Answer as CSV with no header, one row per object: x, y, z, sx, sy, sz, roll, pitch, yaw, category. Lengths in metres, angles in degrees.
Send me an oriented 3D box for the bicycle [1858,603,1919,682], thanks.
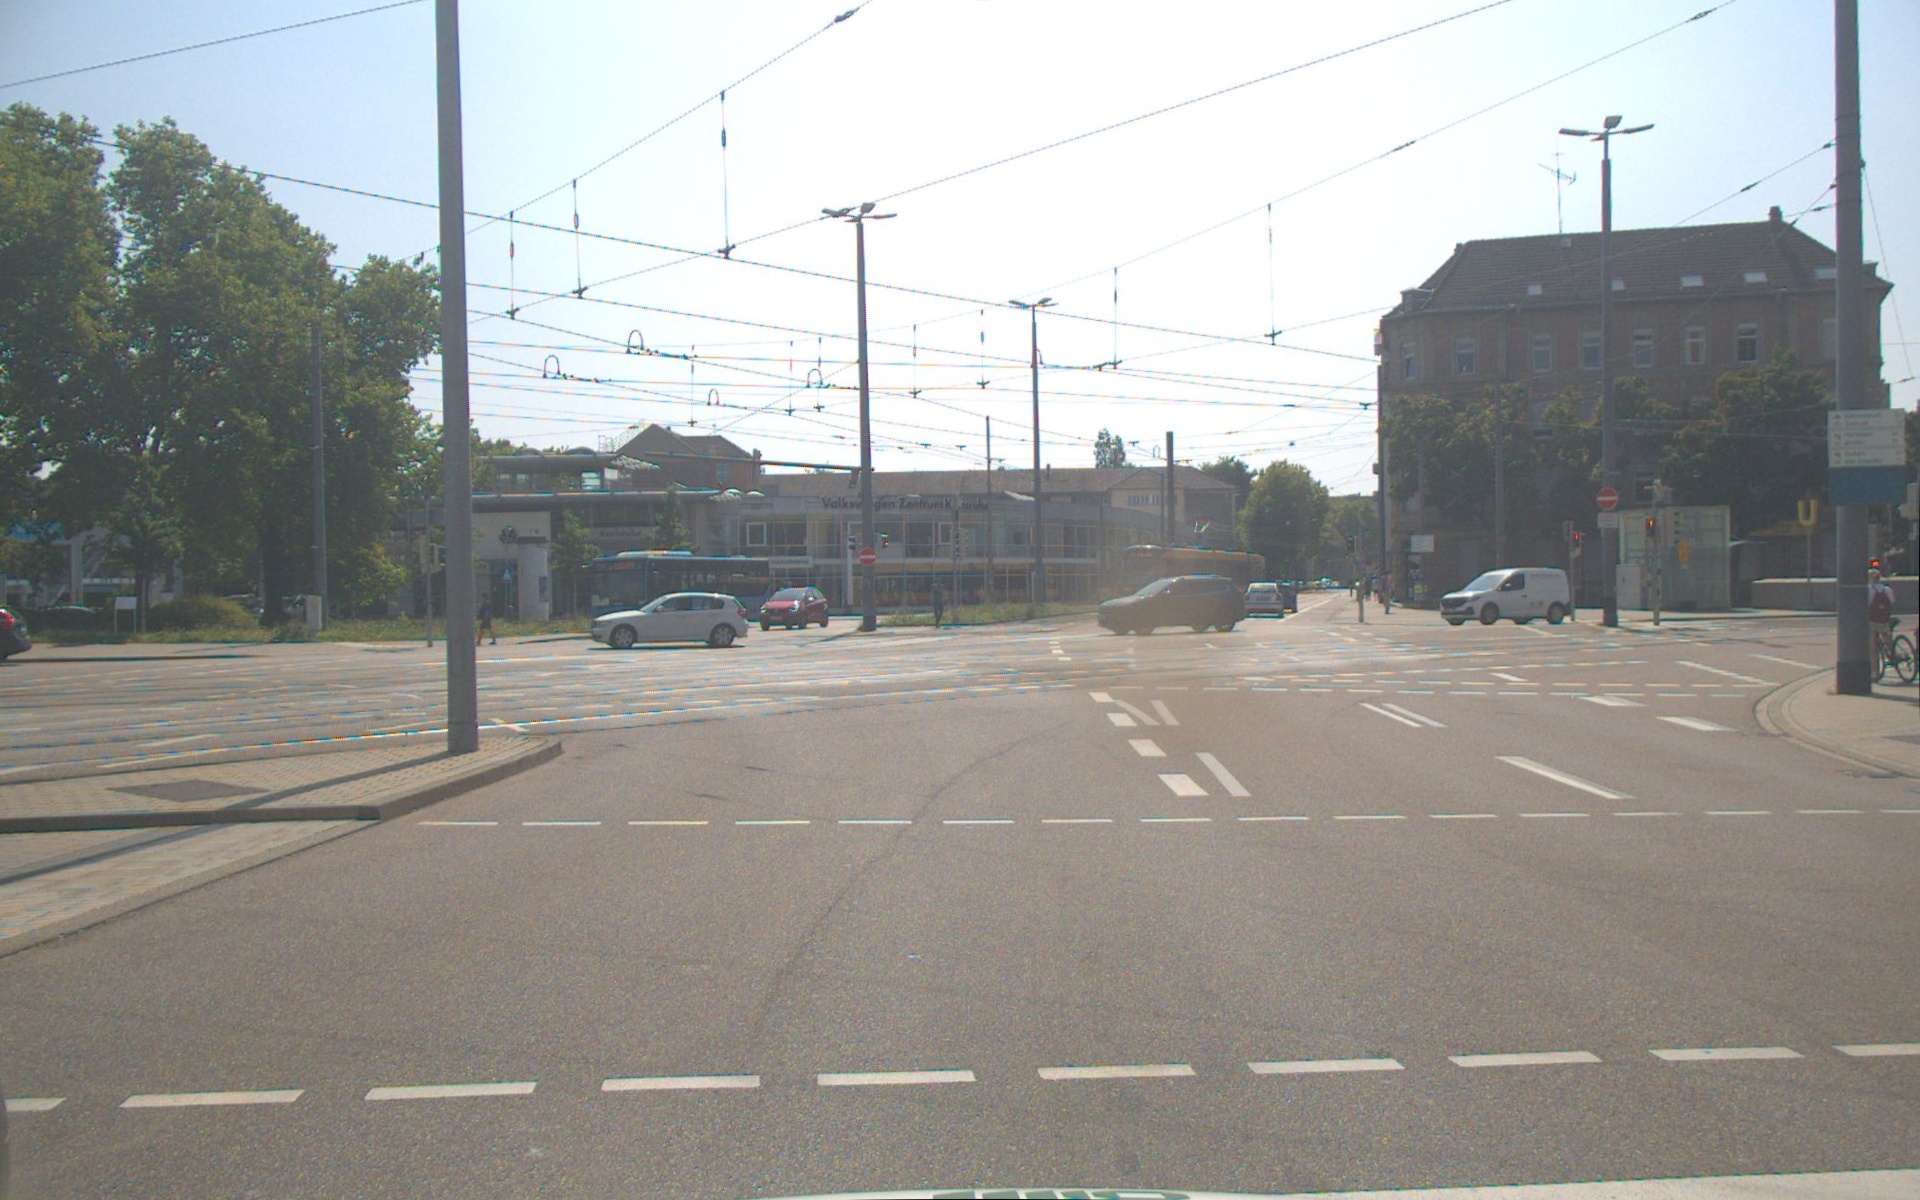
13.464,0.587,23.761,0.525,1.073,1.655,-1,0,12,bicycle

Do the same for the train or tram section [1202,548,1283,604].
19.319,-1.602,112.343,2.536,3.578,12.969,-1,0,23,train or tram section

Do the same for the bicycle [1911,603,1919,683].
13.165,0.586,21.640,0.481,1.073,1.824,-1,0,4,bicycle

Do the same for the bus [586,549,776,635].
-10.897,-0.337,66.439,2.508,3.136,12.031,-1,0,16,bus

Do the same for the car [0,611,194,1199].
-2.497,0.729,1.333,1.728,1.412,3.783,1,0,5,car

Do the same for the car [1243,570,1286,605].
13.312,-0.549,72.509,1.732,1.440,4.192,-1,0,9,car

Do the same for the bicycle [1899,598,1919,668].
15.123,0.518,25.595,0.525,1.073,1.655,-1,0,12,bicycle

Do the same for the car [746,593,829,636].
-6.547,0.531,63.229,1.713,1.579,4.002,-1,0,17,car

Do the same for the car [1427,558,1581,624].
17.631,-0.305,53.619,4.547,2.049,1.986,-1,0,-23,car

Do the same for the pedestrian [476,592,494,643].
-15.858,0.581,55.214,0.544,1.713,0.452,-1,0,-19,pedestrian

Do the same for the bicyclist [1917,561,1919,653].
15.022,0.110,25.178,0.519,1.417,0.894,-1,0,12,bicyclist

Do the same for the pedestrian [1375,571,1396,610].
18.061,-0.416,70.205,0.686,1.631,0.572,-1,0,-8,pedestrian

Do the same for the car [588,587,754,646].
-7.734,0.422,44.221,4.126,1.440,1.765,-1,0,-20,car

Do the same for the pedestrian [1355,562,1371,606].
28.571,-1.149,117.237,0.963,3.070,0.975,-1,0,5,pedestrian

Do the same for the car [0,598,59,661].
-23.625,0.710,38.220,4.684,1.440,1.765,-1,0,-20,car

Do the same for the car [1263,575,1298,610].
15.806,-0.371,81.532,1.601,1.646,4.004,-1,0,11,car

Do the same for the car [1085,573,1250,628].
6.226,0.005,49.622,4.545,1.531,1.987,-1,0,-21,car

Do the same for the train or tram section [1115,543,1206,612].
11.311,-1.243,92.168,2.535,3.578,10.900,-1,0,21,train or tram section

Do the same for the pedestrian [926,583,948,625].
-0.809,0.139,58.625,0.666,1.468,0.364,-1,0,-18,pedestrian

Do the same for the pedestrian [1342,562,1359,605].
27.571,-1.163,116.819,0.963,3.070,0.975,-1,0,5,pedestrian

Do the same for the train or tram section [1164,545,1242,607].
15.048,-1.462,101.830,2.535,3.578,9.658,-1,0,22,train or tram section

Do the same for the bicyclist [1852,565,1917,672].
13.480,0.265,24.126,0.614,1.544,0.712,-1,0,12,bicyclist
